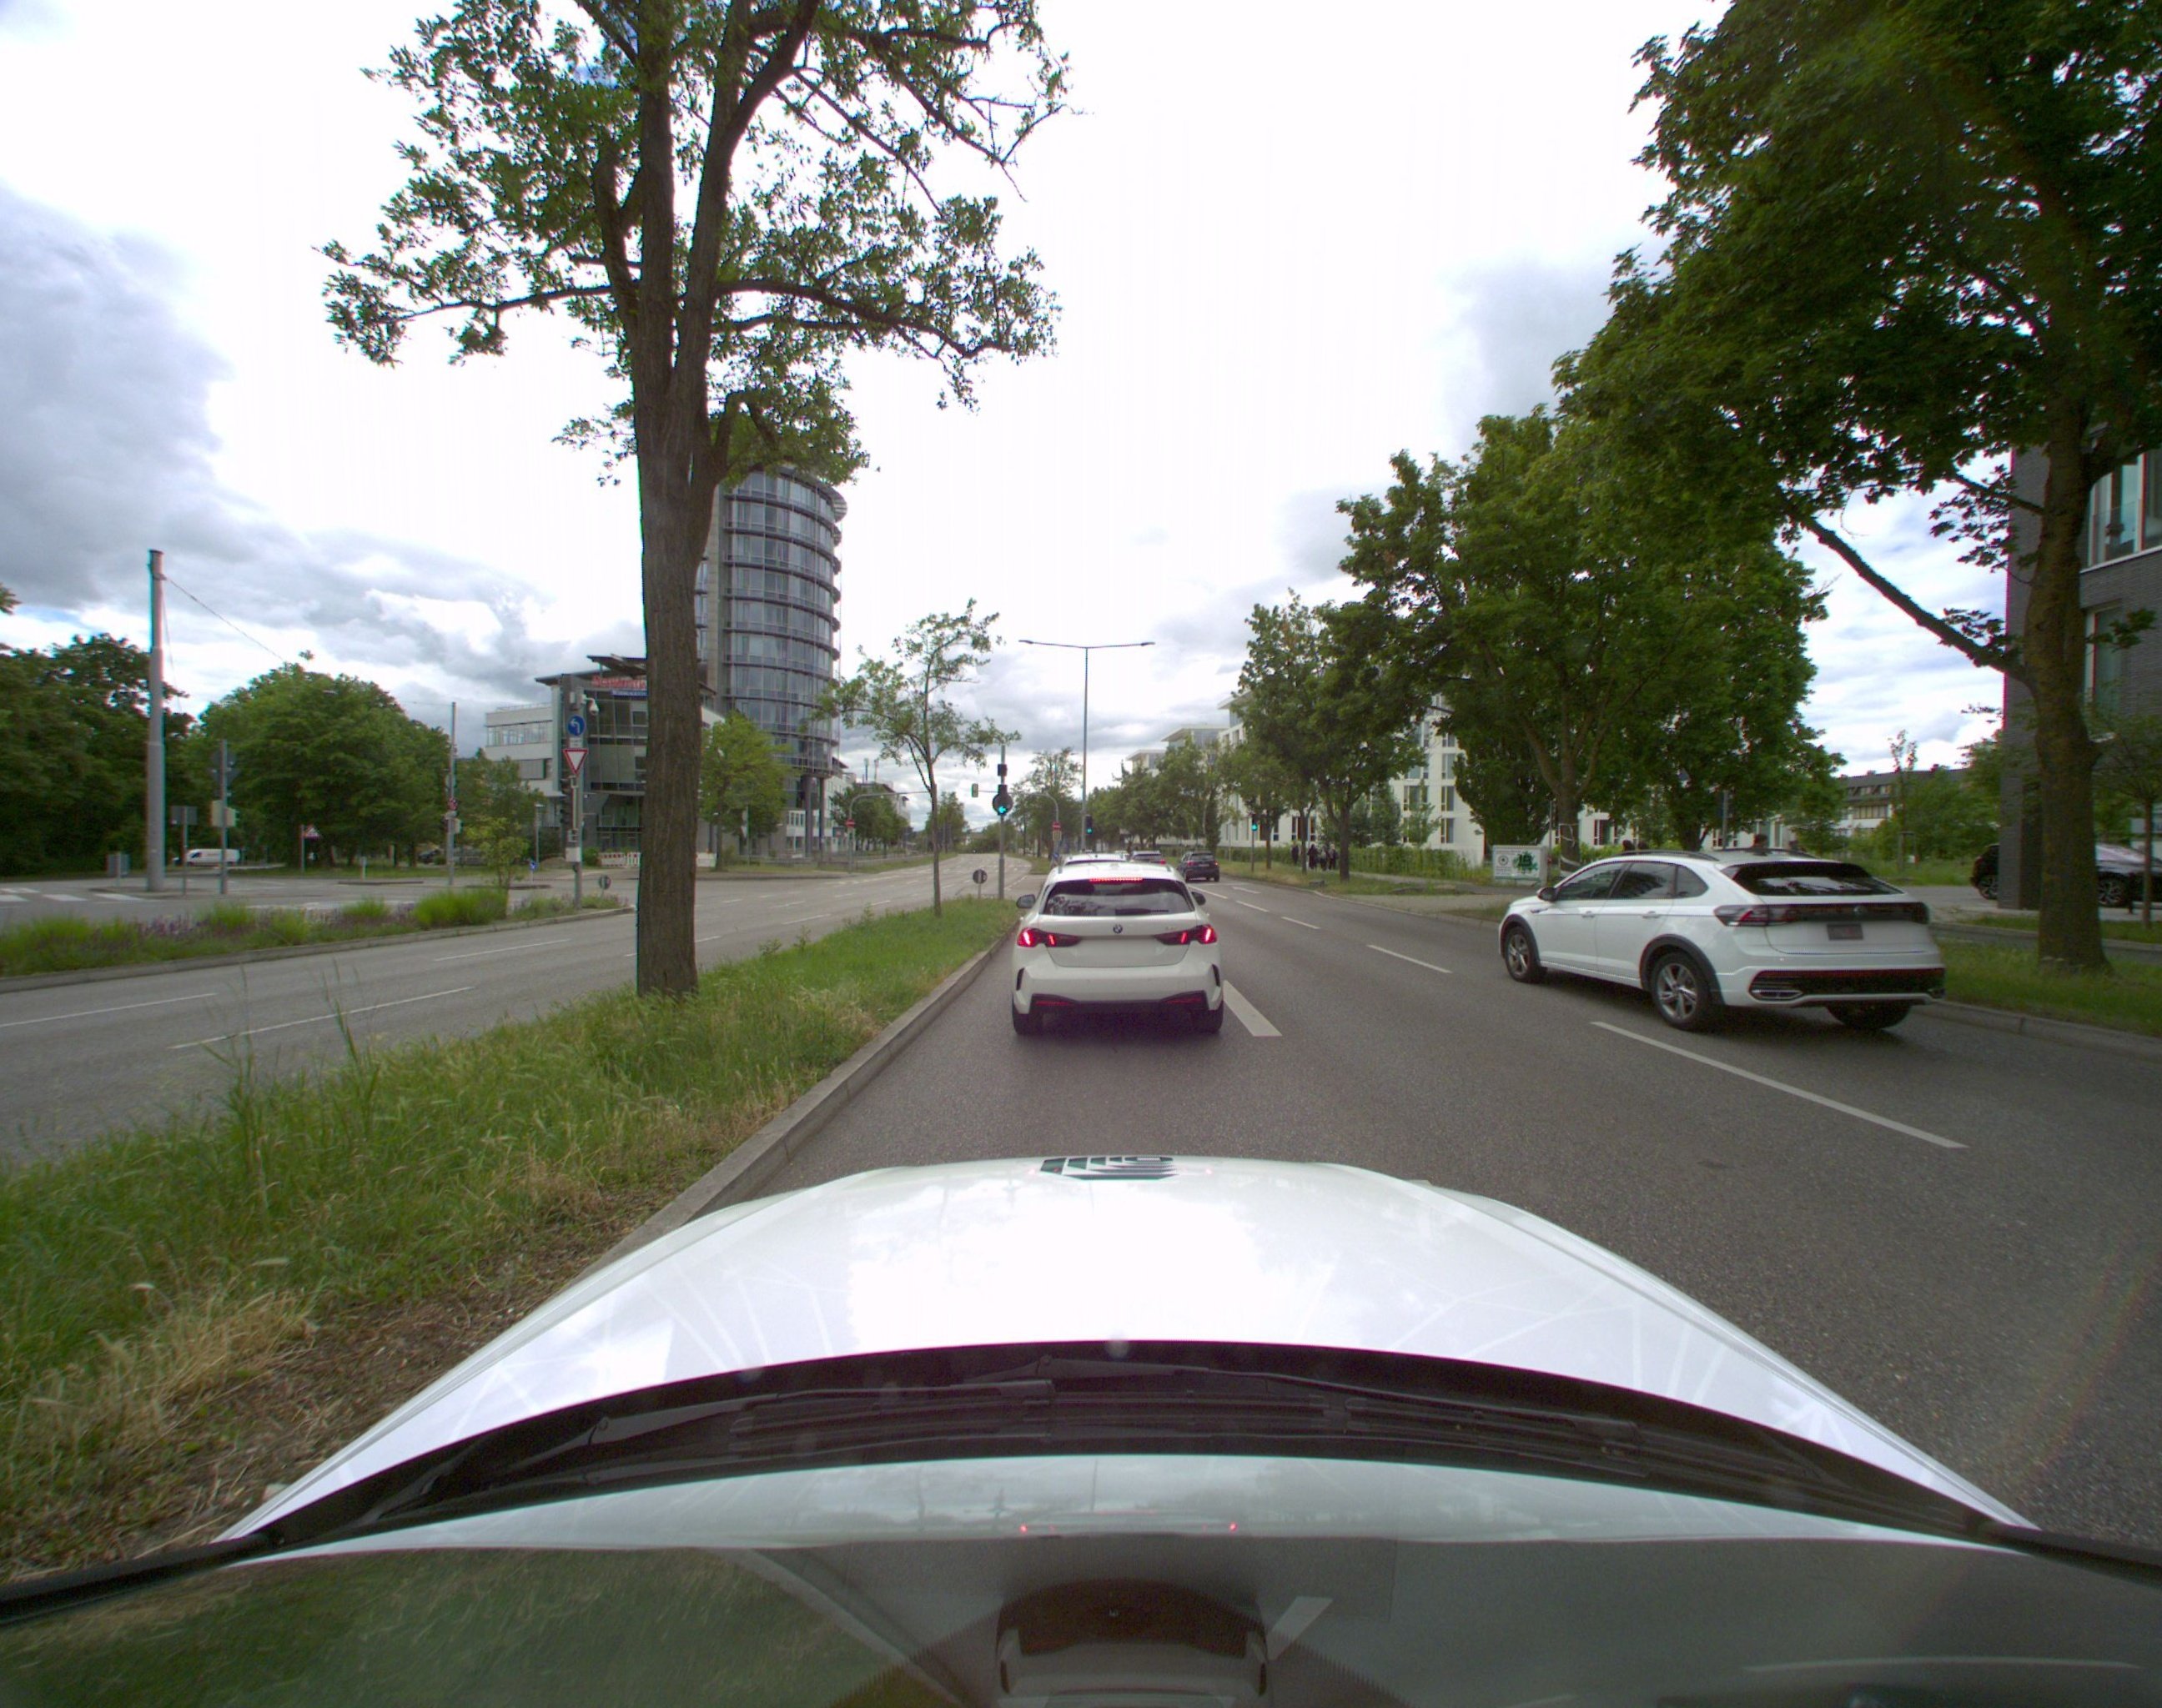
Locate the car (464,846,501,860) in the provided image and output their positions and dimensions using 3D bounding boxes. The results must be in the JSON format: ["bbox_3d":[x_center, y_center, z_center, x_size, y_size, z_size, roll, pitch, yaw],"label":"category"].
[{"bbox_3d":[-37.345,-0.051,50.795,0.766,0.876,1.730,0,0,38],"label":"car"}]

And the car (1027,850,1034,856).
[{"bbox_3d":[-15.200,-0.291,245.385,1.992,1.732,3.990,0,-1,-7],"label":"car"}]

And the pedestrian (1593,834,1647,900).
[{"bbox_3d":[14.070,0.329,21.289,0.791,1.660,1.061,0,0,7],"label":"pedestrian"}]

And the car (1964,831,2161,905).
[{"bbox_3d":[24.905,0.302,20.128,1.749,1.646,4.151,0,0,2],"label":"car"}]

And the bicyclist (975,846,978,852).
[{"bbox_3d":[-27.429,-1.329,214.159,0.811,1.653,1.184,0,-1,-12],"label":"bicyclist"}]

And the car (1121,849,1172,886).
[{"bbox_3d":[2.960,0.585,37.578,1.850,1.596,4.310,-1,0,-2],"label":"car"}]

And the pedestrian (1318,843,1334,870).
[{"bbox_3d":[14.479,0.151,48.098,0.697,1.595,0.883,0,-1,1],"label":"pedestrian"}]

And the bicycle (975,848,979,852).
[{"bbox_3d":[-27.412,-0.995,214.068,0.811,1.104,2.546,0,-1,-12],"label":"bicycle"}]

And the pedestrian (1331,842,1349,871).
[{"bbox_3d":[15.272,0.145,48.100,0.764,1.685,0.883,0,-1,1],"label":"pedestrian"}]

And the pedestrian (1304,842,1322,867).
[{"bbox_3d":[13.695,0.041,48.127,0.786,1.448,1.112,0,-1,1],"label":"pedestrian"}]

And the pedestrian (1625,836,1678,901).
[{"bbox_3d":[14.813,0.373,21.175,0.774,1.660,0.954,0,0,7],"label":"pedestrian"}]

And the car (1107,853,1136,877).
[{"bbox_3d":[2.582,0.687,52.524,1.601,1.468,3.673,0,0,-1],"label":"car"}]

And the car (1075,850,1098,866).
[{"bbox_3d":[0.493,0.376,82.434,1.889,1.596,4.304,0,0,-6],"label":"car"}]

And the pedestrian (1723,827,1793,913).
[{"bbox_3d":[15.205,0.349,18.314,0.951,1.868,0.984,0,0,21],"label":"pedestrian"}]

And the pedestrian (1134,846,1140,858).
[{"bbox_3d":[9.474,-0.385,138.121,0.849,2.013,0.603,0,0,-14],"label":"pedestrian"}]

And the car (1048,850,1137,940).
[{"bbox_3d":[0.266,0.716,16.244,1.544,1.569,4.002,0,0,2],"label":"car"}]

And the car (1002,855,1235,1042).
[{"bbox_3d":[0.360,0.741,8.358,1.815,1.438,4.002,0,0,2],"label":"car"}]

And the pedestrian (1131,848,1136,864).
[{"bbox_3d":[8.503,0.298,132.904,0.828,2.627,0.646,0,0,1],"label":"pedestrian"}]

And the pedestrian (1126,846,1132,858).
[{"bbox_3d":[8.251,-0.354,139.816,0.763,2.014,0.751,0,-1,-13],"label":"pedestrian"}]

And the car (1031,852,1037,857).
[{"bbox_3d":[-12.831,0.125,222.125,1.691,1.486,3.685,0,0,-6],"label":"car"}]

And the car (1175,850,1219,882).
[{"bbox_3d":[5.810,0.589,41.201,1.652,1.512,3.999,0,0,-1],"label":"car"}]

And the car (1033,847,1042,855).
[{"bbox_3d":[-10.486,-0.745,197.273,1.991,1.670,3.992,-2,0,-5],"label":"car"}]

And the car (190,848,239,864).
[{"bbox_3d":[-128.843,0.282,121.120,1.978,2.339,4.570,-1,-1,16],"label":"car"}]

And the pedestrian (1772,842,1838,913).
[{"bbox_3d":[16.279,0.507,18.327,0.825,1.557,0.880,0,0,18],"label":"pedestrian"}]

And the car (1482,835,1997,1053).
[{"bbox_3d":[5.775,0.650,7.936,1.710,1.555,4.089,-1,0,0],"label":"car"}]

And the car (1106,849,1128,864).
[{"bbox_3d":[3.558,0.258,80.858,1.651,1.425,3.527,-1,0,-6],"label":"car"}]

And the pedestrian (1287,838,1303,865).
[{"bbox_3d":[12.809,-0.143,48.796,0.739,1.574,0.674,0,-1,0],"label":"pedestrian"}]

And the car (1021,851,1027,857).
[{"bbox_3d":[-15.659,0.015,222.469,1.692,1.717,3.993,0,-1,-4],"label":"car"}]
